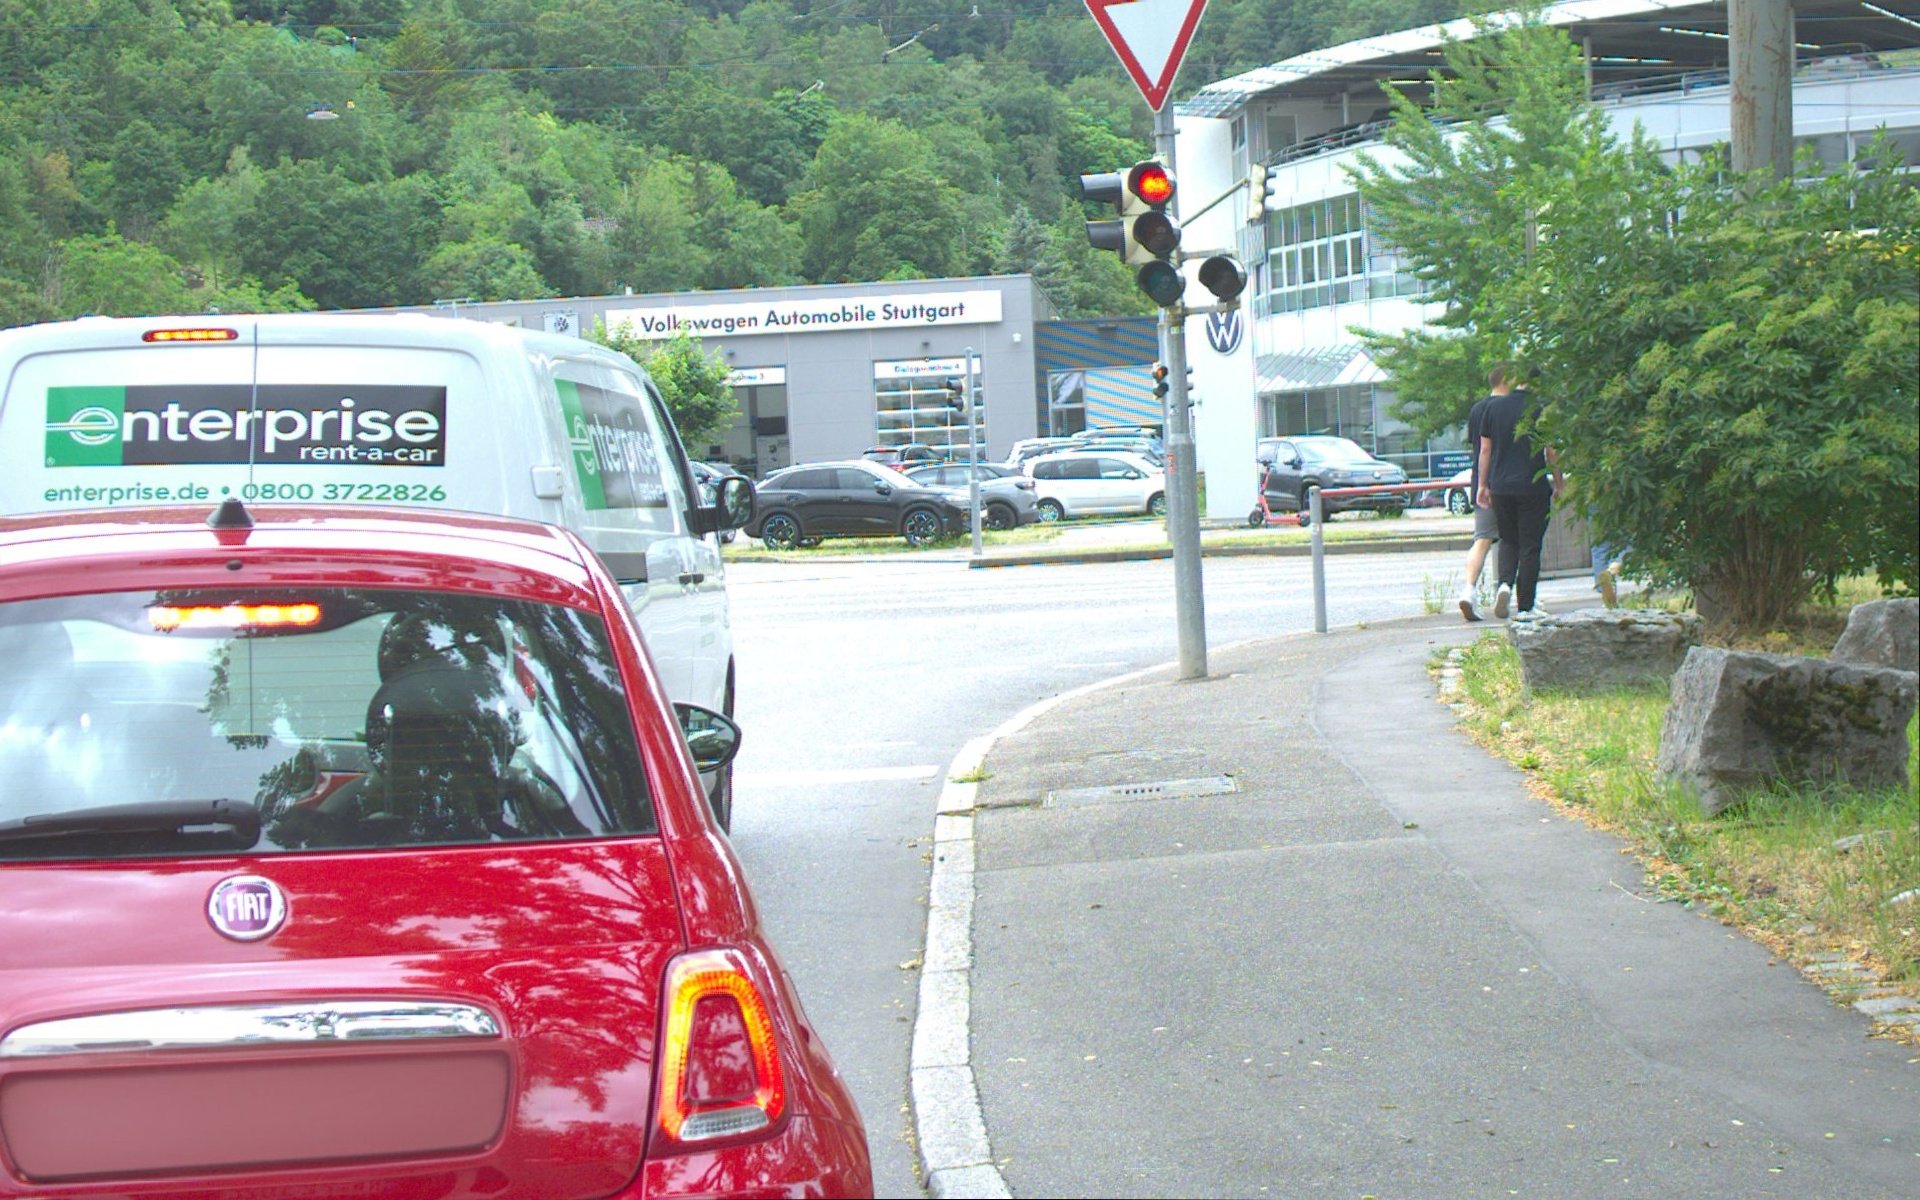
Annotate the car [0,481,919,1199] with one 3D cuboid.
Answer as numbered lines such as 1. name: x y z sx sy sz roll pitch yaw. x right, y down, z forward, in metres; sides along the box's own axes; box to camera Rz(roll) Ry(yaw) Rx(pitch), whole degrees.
1. car: -1.191 0.570 5.528 1.638 1.451 3.432 -2 2 -11

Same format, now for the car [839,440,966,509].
1. car: -1.641 -3.651 99.548 1.996 1.809 3.995 -1 3 27

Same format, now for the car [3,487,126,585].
1. car: -17.779 -1.308 68.398 1.859 1.811 4.404 -3 2 -9

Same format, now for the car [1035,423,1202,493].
1. car: 4.651 -4.176 101.081 4.796 1.796 1.776 -2 2 3

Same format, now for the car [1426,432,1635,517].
1. car: 11.046 -2.430 66.840 1.770 1.495 4.022 -4 3 -31

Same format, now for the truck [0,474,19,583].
1. truck: -23.725 -1.464 76.080 5.183 2.385 2.000 -4 3 -28

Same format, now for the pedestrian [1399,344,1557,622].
1. pedestrian: 3.549 -0.802 23.521 0.694 1.850 0.787 -1 3 38

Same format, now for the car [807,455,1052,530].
1. car: -0.618 -2.205 70.478 4.674 1.323 1.775 -2 2 14

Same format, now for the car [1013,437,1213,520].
1. car: 3.759 -3.002 84.602 4.796 1.796 1.776 -2 2 3

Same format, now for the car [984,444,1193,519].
1. car: 3.034 -2.797 81.059 4.796 1.528 1.776 -2 2 3

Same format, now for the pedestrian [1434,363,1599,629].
1. pedestrian: 3.699 -0.693 22.828 0.695 1.708 0.786 -1 3 41

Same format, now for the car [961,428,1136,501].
1. car: 2.484 -3.799 96.194 4.796 1.796 1.776 -2 2 3

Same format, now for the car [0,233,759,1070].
1. car: -1.908 0.055 11.313 1.989 2.099 4.762 -3 2 2

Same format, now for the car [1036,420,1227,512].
1. car: 4.452 -3.501 89.511 4.796 2.149 2.234 -2 2 3

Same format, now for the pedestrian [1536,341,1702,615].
1. pedestrian: 4.306 -0.797 22.457 0.695 1.733 0.787 -1 3 40

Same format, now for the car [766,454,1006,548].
1. car: -1.314 -1.772 61.375 3.871 1.495 1.774 -2 2 17

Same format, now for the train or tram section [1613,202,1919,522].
1. train or tram section: 17.605 -3.297 44.781 19.108 3.653 3.279 -3 2 -22

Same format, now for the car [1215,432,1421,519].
1. car: 6.747 -2.342 65.073 1.770 1.495 3.881 -4 3 -33

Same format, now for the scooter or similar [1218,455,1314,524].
1. scooter or similar: 5.550 -2.003 62.287 1.668 1.173 0.467 -2 2 7

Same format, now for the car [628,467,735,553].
1. car: -6.352 -2.088 78.827 1.993 1.809 4.000 -3 2 1
